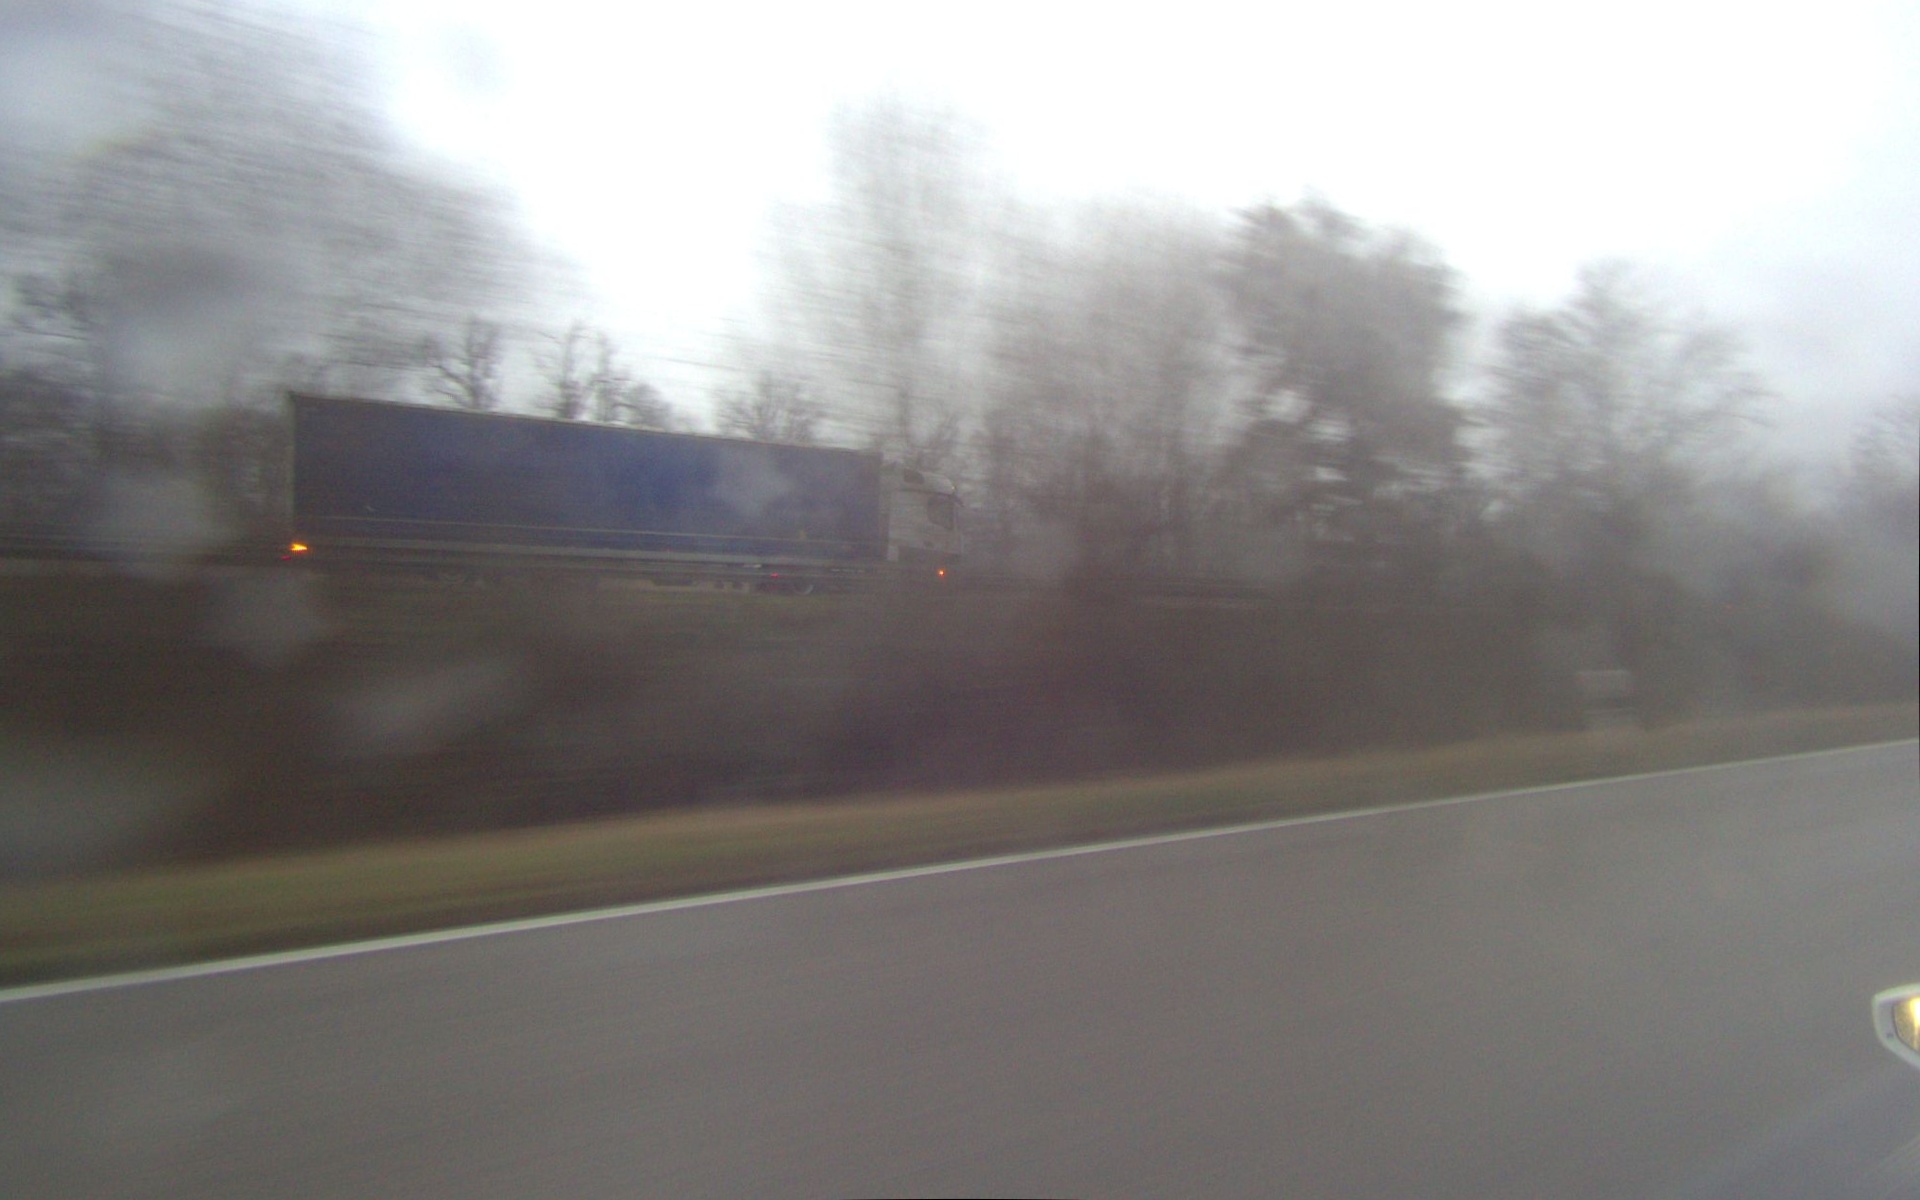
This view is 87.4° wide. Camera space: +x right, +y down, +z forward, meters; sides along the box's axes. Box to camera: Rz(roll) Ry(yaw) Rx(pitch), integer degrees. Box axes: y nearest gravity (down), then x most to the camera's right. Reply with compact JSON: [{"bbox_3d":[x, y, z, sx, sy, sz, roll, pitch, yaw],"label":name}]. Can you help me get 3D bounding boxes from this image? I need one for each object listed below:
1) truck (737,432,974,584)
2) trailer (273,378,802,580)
[{"bbox_3d":[-2.927,-2.382,28.444,5.997,3.680,2.977,1,0,-31],"label":"truck"},{"bbox_3d":[-9.680,-2.514,24.356,11.255,3.682,2.984,1,-1,-31],"label":"trailer"}]
